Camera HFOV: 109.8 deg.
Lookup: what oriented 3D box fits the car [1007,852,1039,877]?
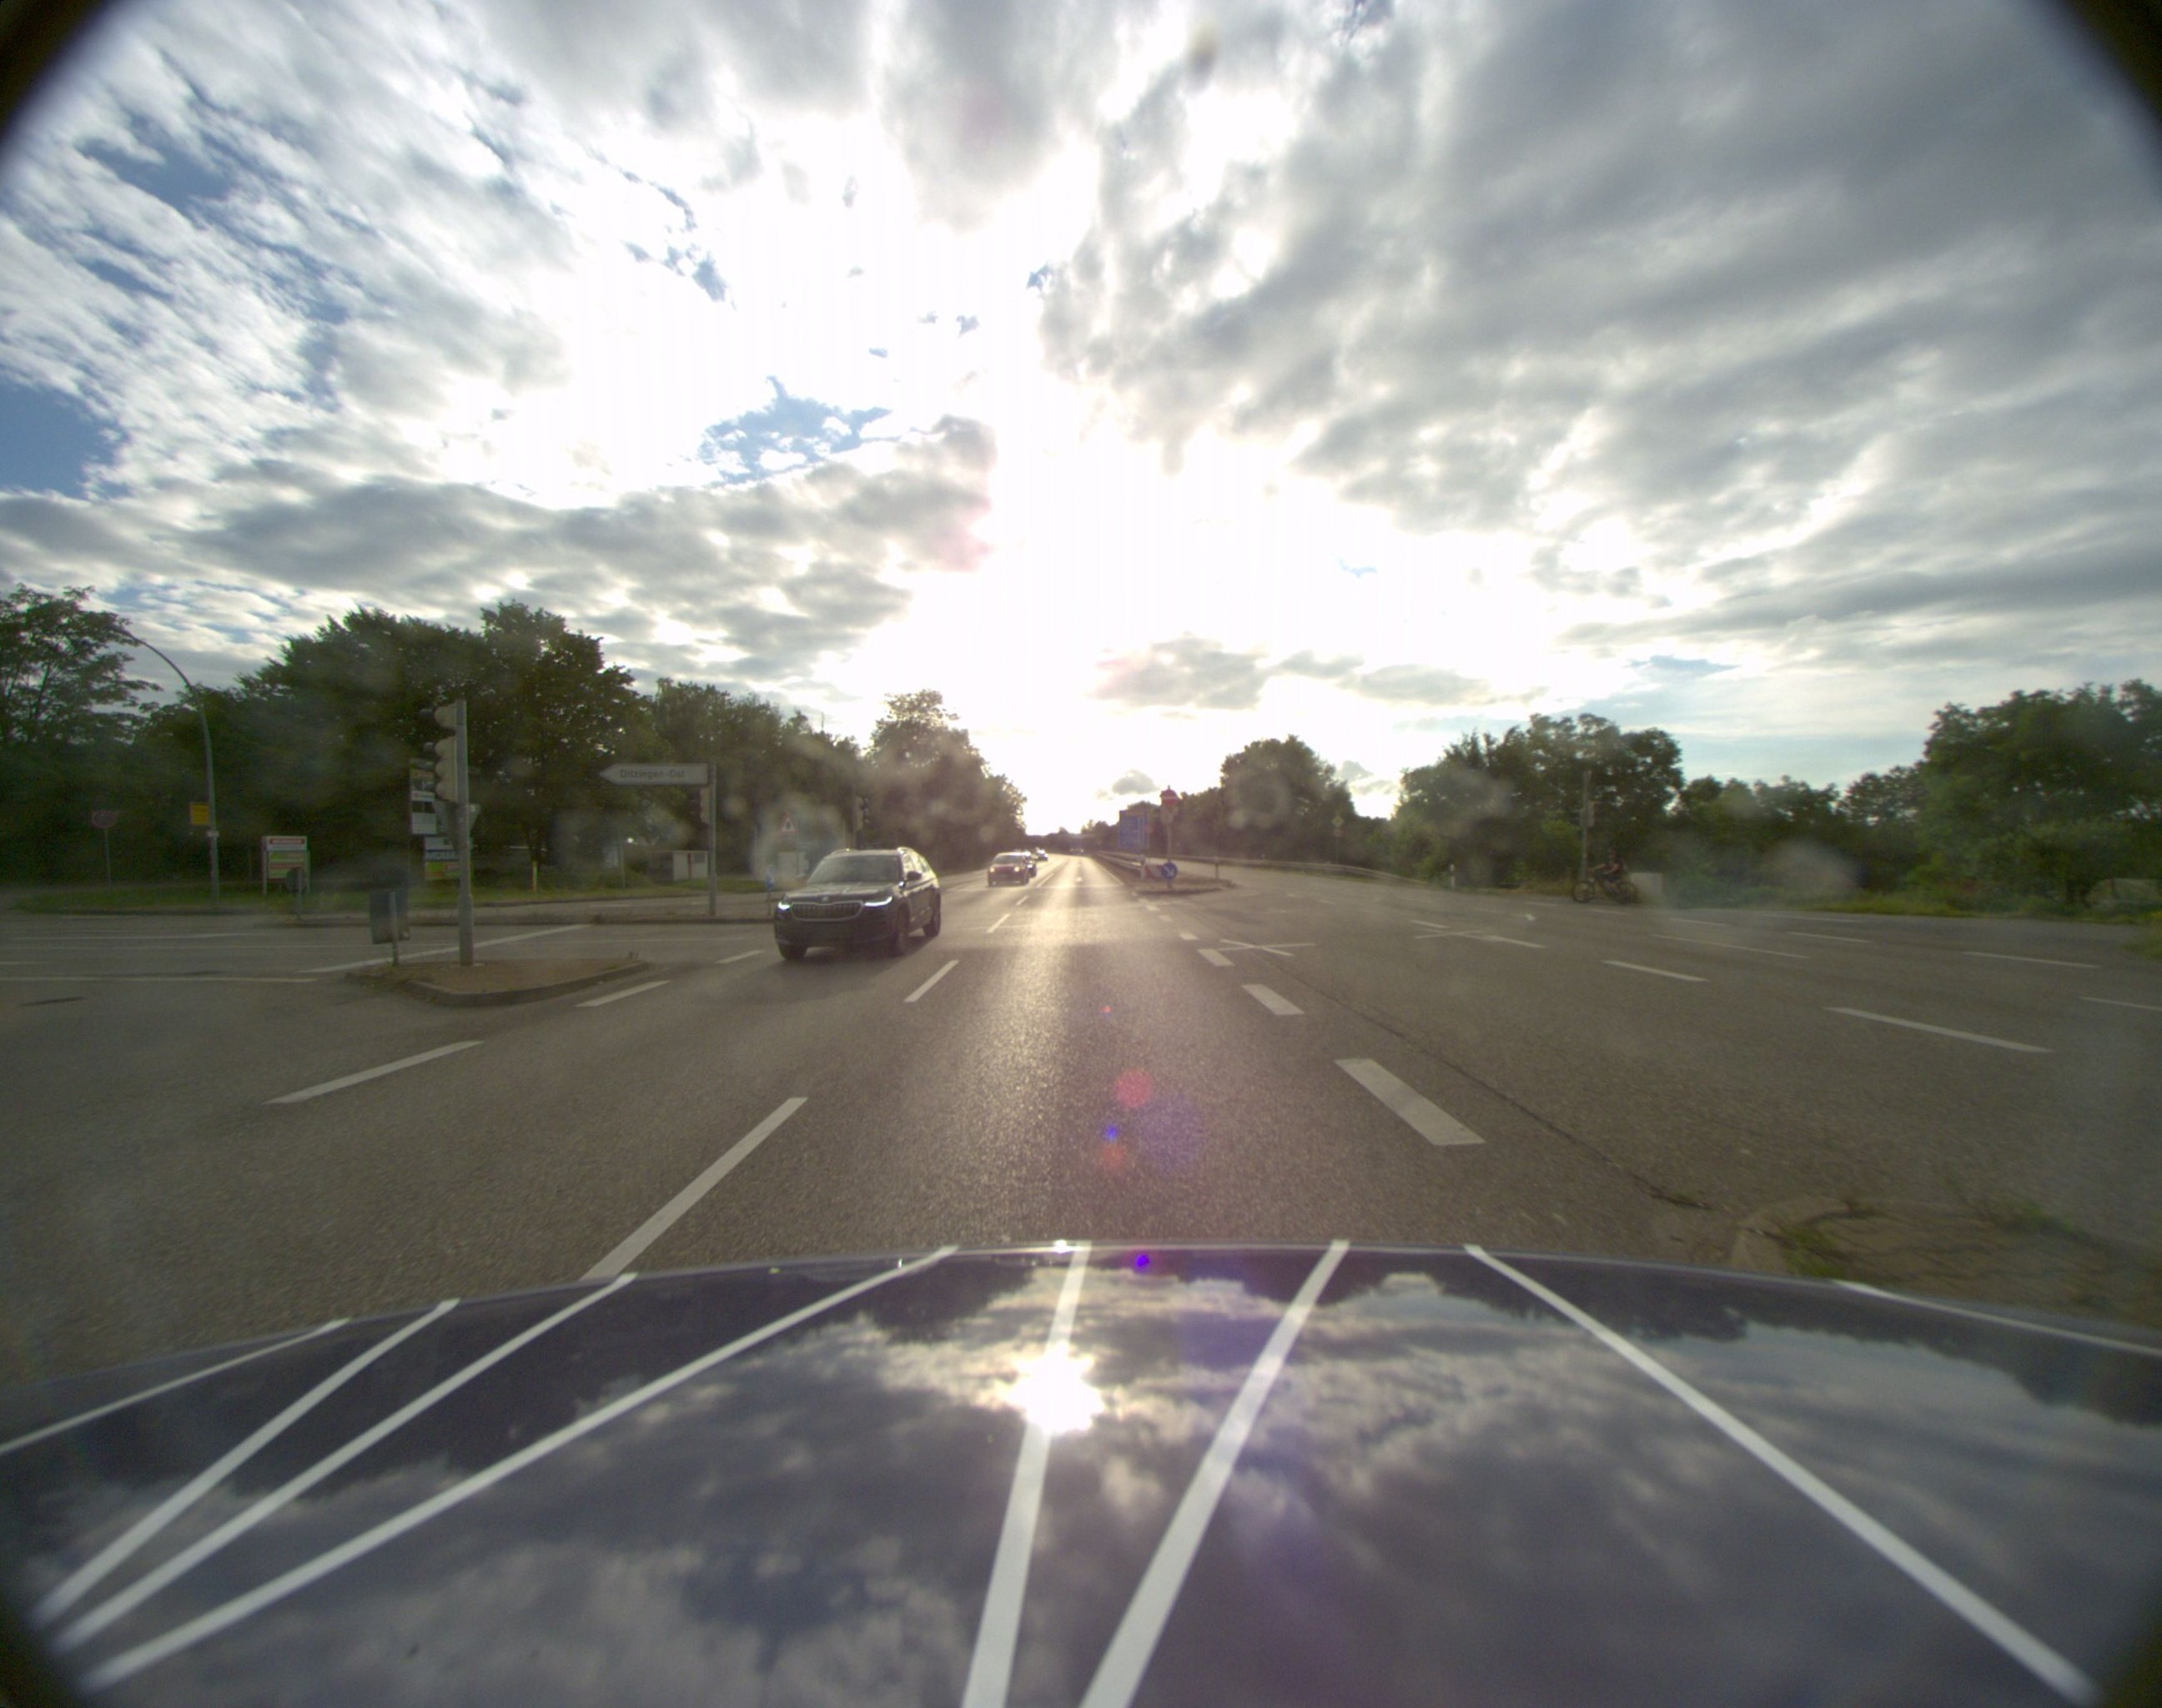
[{"bbox_3d":[-3.525,0.605,47.013,1.700,1.407,3.999,-2,1,-1],"label":"car"}]

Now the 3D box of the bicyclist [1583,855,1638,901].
[{"bbox_3d":[17.234,0.772,24.751,1.225,1.443,0.816,0,1,5],"label":"bicyclist"}]

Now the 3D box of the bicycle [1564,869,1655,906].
[{"bbox_3d":[17.201,1.085,24.756,2.324,1.131,0.816,0,1,5],"label":"bicycle"}]

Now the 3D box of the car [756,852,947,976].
[{"bbox_3d":[-3.593,0.830,12.831,1.849,1.640,4.480,-2,0,-1],"label":"car"}]

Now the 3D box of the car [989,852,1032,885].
[{"bbox_3d":[-3.310,0.639,36.194,1.667,1.424,3.994,-2,0,-1],"label":"car"}]

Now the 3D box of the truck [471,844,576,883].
[{"bbox_3d":[-31.611,0.504,43.213,4.678,1.985,1.819,-2,1,-36],"label":"truck"}]

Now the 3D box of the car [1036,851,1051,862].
[{"bbox_3d":[-5.336,0.374,108.589,1.999,1.486,3.999,0,0,0],"label":"car"}]
